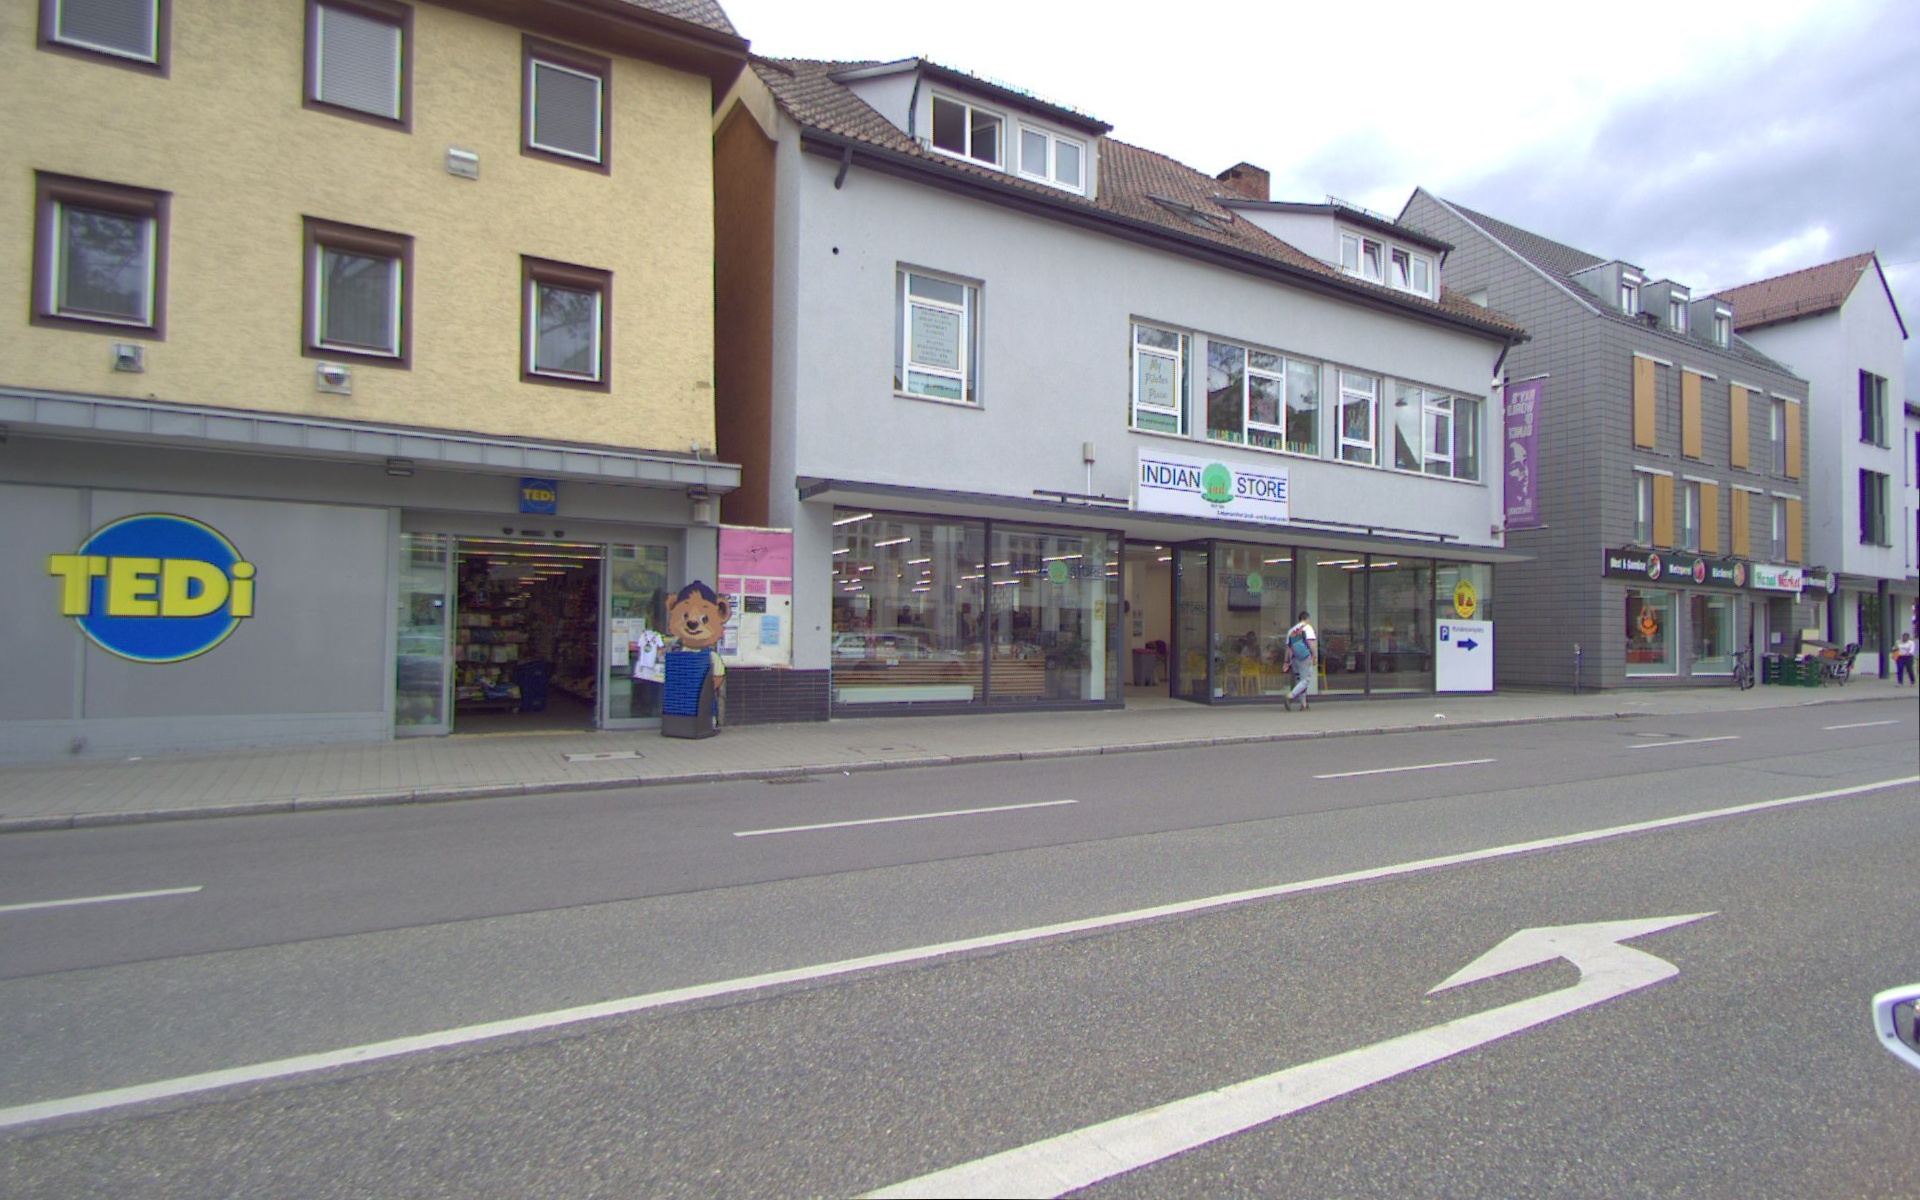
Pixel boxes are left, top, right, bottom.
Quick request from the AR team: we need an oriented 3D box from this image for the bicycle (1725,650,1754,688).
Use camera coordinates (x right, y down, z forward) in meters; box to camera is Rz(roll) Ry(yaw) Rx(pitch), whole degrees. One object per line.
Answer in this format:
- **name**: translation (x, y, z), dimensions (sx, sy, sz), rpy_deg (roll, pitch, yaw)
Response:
- **bicycle**: translation (20.740, 1.826, 26.709), dimensions (1.472, 0.966, 0.323), rpy_deg (2, -2, -41)

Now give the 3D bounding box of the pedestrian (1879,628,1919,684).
- **pedestrian**: translation (28.290, 1.671, 30.231), dimensions (0.744, 1.631, 0.725), rpy_deg (1, -1, -29)

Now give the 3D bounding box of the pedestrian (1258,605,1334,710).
- **pedestrian**: translation (5.798, 0.974, 17.339), dimensions (0.969, 1.728, 0.750), rpy_deg (1, 2, -30)

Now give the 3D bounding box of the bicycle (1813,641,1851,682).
- **bicycle**: translation (26.429, 1.846, 30.419), dimensions (1.806, 1.201, 0.384), rpy_deg (1, -2, -33)

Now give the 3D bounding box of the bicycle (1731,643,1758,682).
- **bicycle**: translation (23.500, 1.849, 30.081), dimensions (1.279, 1.142, 0.383), rpy_deg (2, -2, -40)
